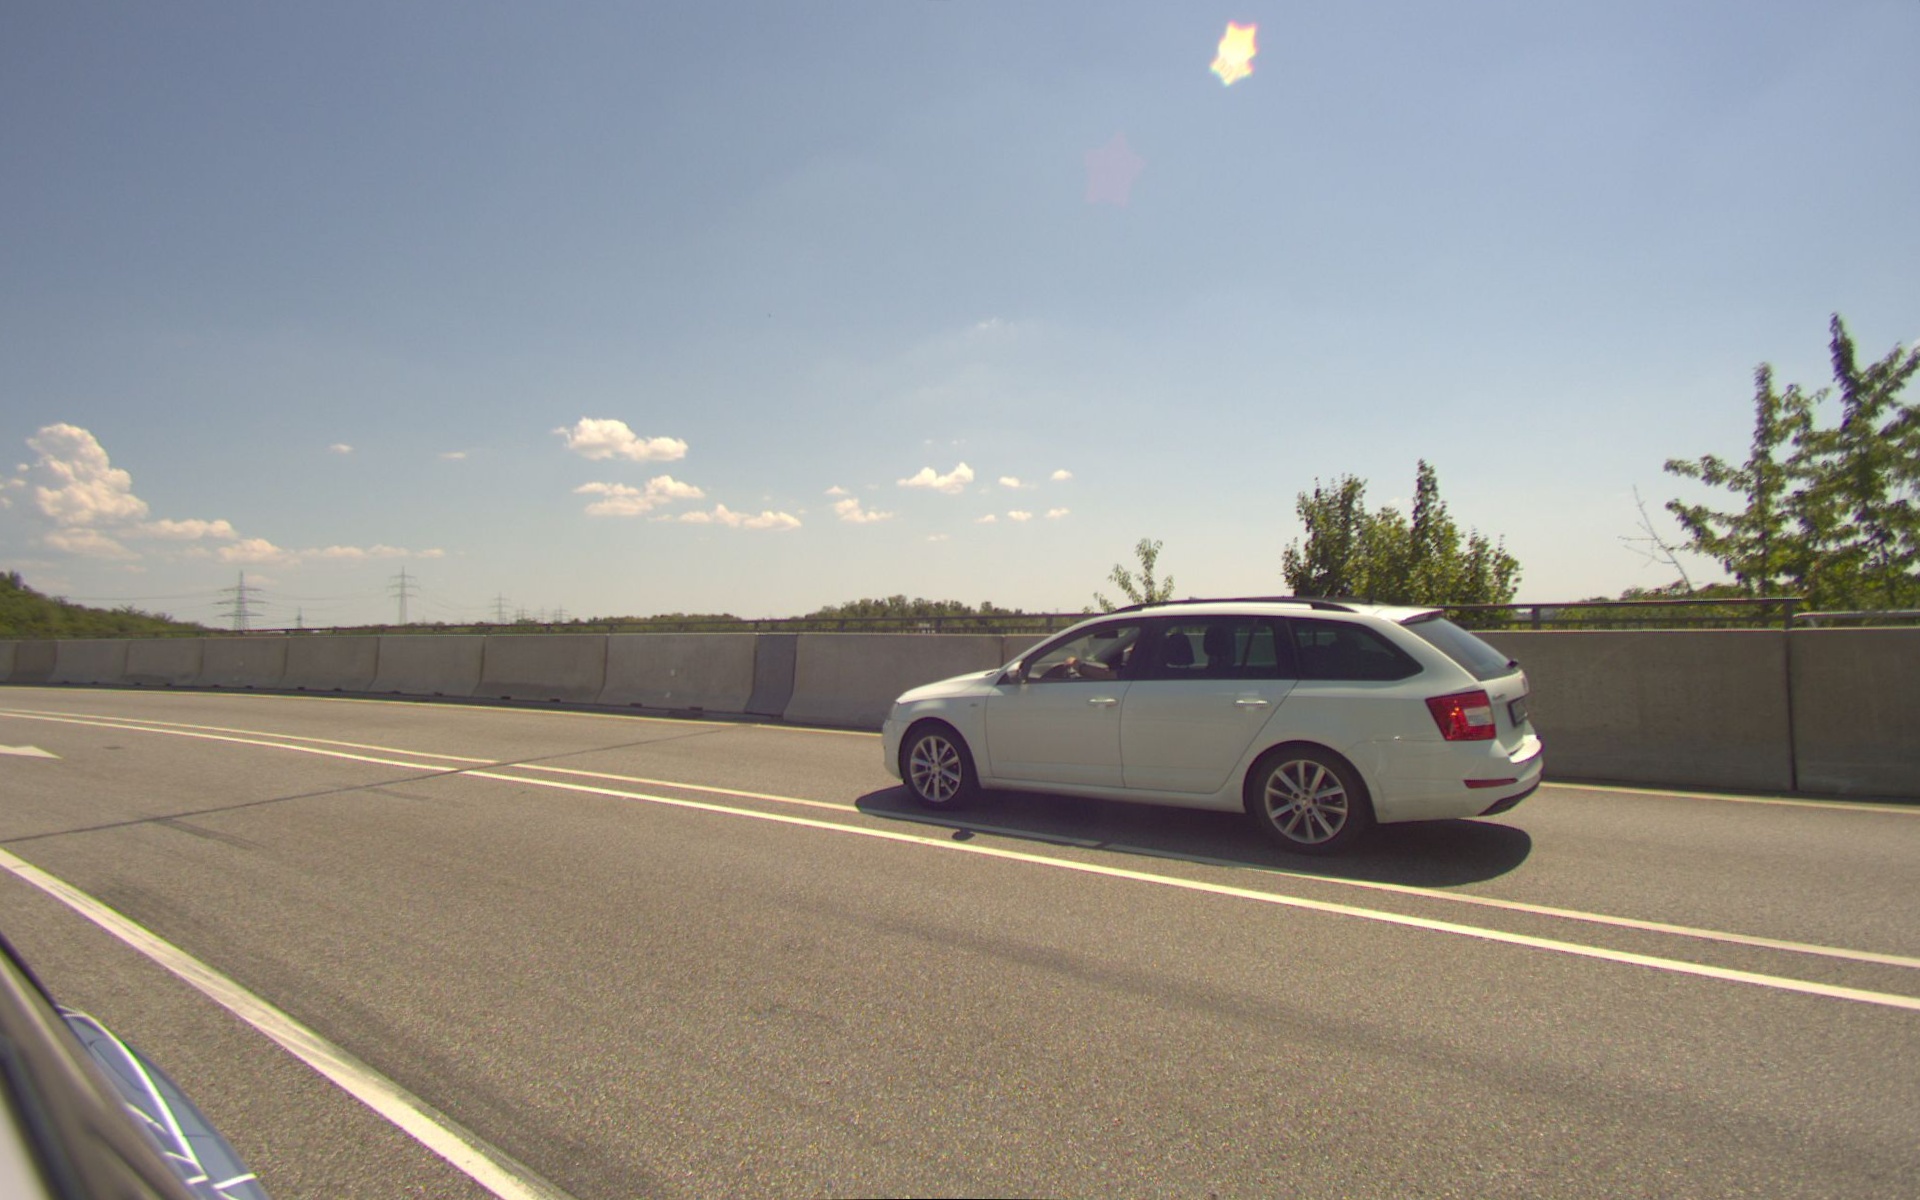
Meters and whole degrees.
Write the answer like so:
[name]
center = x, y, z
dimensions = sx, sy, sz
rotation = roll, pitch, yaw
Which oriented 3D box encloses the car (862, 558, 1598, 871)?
[car]
center = 1.624, 0.635, 6.954
dimensions = 4.542, 1.506, 1.771
rotation = -2, -2, 36
